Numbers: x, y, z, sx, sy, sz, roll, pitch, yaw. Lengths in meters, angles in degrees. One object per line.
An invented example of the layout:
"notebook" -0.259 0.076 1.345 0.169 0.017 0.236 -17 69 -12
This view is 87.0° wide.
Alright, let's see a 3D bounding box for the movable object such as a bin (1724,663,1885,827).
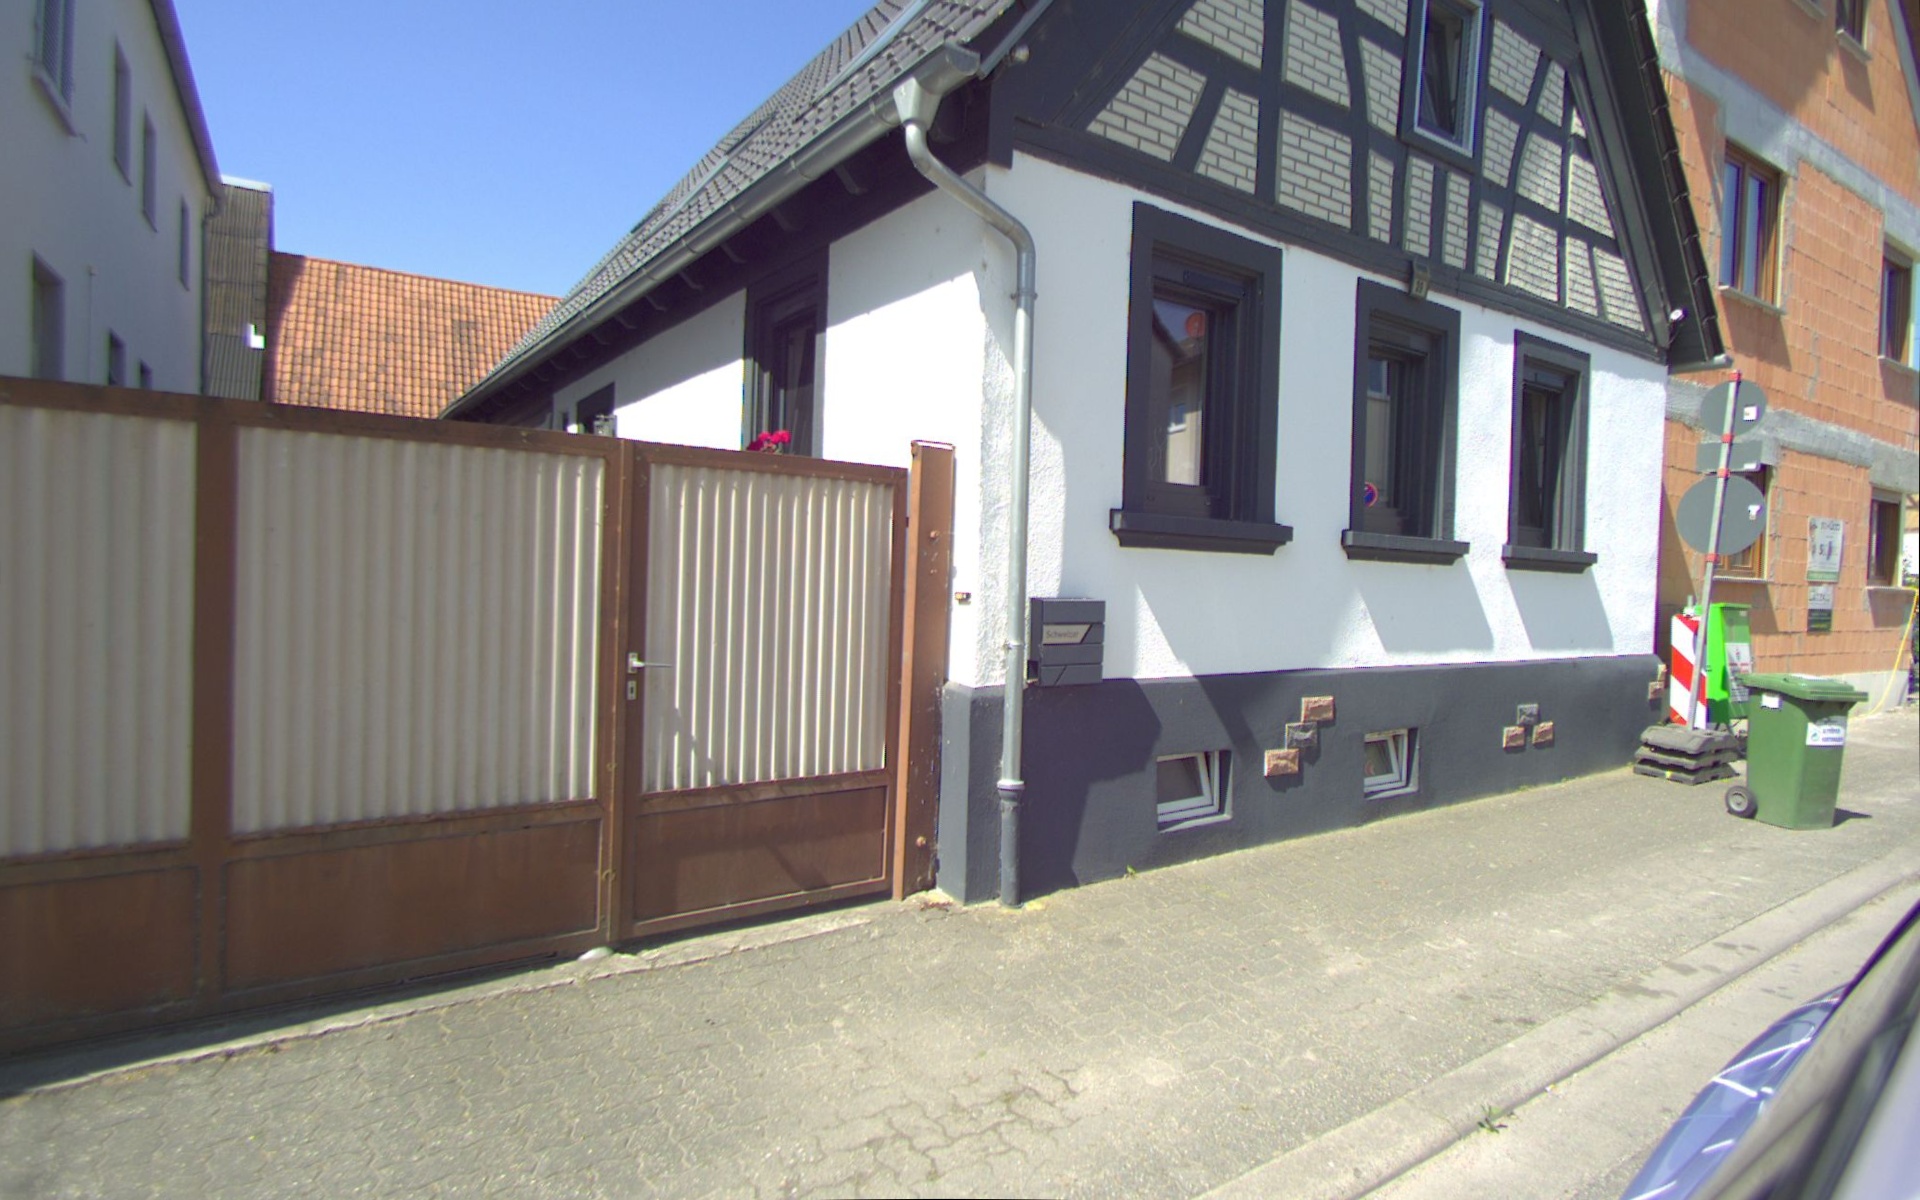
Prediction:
"movable object such as a bin" 5.309 0.890 6.381 0.540 0.925 0.541 1 2 -17
